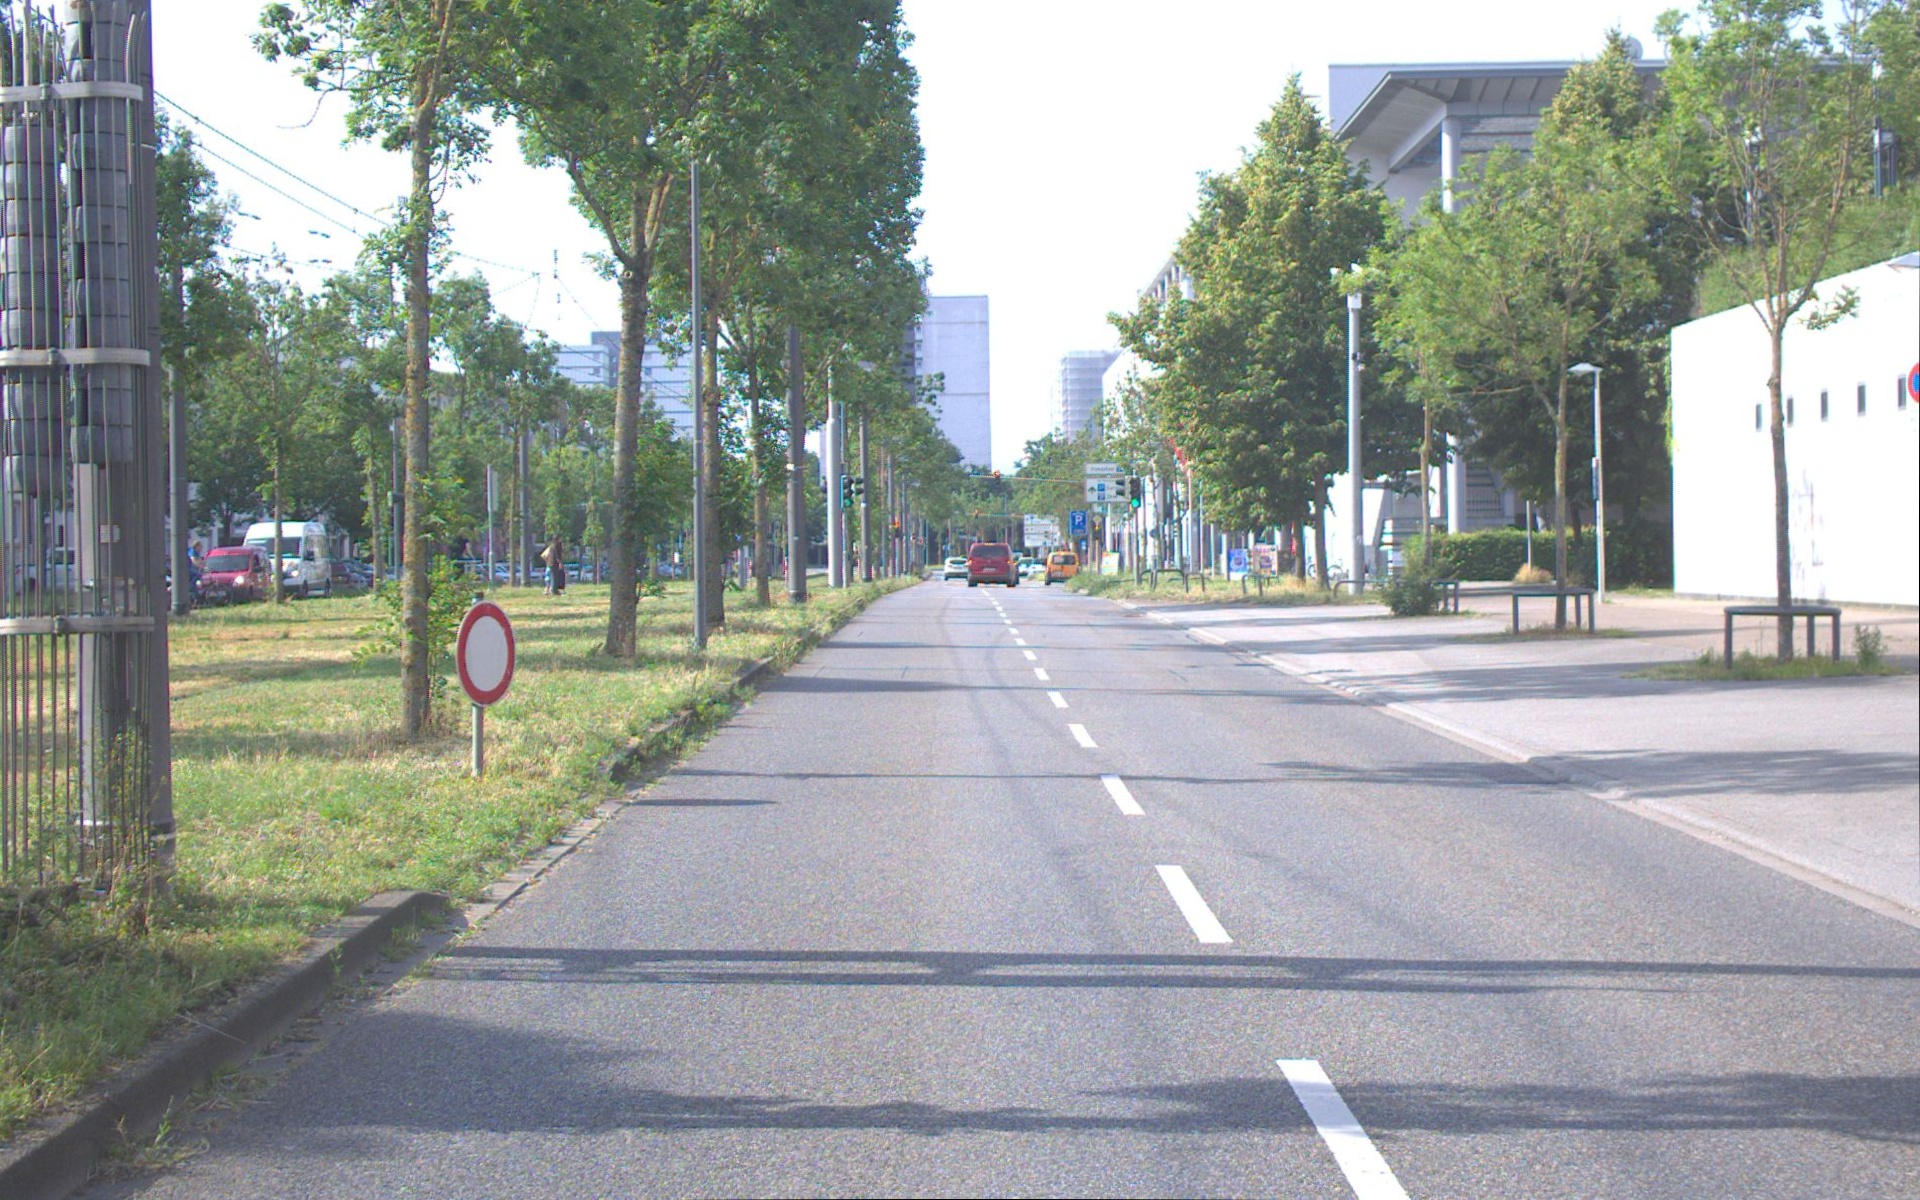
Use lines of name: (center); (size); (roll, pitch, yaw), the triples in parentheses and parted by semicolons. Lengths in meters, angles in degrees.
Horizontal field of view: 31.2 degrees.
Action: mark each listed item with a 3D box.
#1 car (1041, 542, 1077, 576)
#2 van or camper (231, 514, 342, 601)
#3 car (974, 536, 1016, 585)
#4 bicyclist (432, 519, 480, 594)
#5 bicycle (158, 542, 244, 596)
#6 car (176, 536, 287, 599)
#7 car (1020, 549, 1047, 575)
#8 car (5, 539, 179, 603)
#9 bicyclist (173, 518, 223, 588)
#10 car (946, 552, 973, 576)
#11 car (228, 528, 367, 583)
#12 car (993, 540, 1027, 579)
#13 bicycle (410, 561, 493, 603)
car: (5.083, -2.106, 177.276); (1.748, 1.645, 3.215); (2, 0, 1)
van or camper: (-20.443, -1.286, 104.567); (2.203, 2.522, 6.030); (2, 0, -1)
car: (1.499, -1.688, 146.773); (1.748, 2.007, 3.215); (2, 0, 1)
bicyclist: (-13.256, -1.153, 90.413); (1.146, 1.927, 0.686); (2, 0, -13)
bicycle: (-19.627, -0.808, 88.861); (2.065, 1.319, 0.784); (2, 0, -19)
car: (-20.647, -0.906, 97.625); (1.965, 1.688, 4.296); (2, 0, 4)
car: (4.919, -2.556, 231.405); (1.748, 1.645, 3.215); (2, 0, 1)
car: (-26.060, -0.874, 103.162); (5.320, 1.732, 1.996); (2, 0, 34)
bicyclist: (-19.689, -1.219, 88.823); (1.146, 1.756, 0.686); (2, 0, -19)
car: (-0.032, -2.533, 241.667); (1.748, 1.645, 3.215); (2, 0, 1)
car: (-26.009, -1.741, 134.985); (5.225, 2.007, 1.874); (2, 0, 26)
car: (2.645, -2.114, 181.207); (1.748, 2.007, 3.215); (2, 0, 1)
bicycle: (-13.369, -0.467, 90.419); (2.065, 1.039, 0.668); (2, 0, -14)
